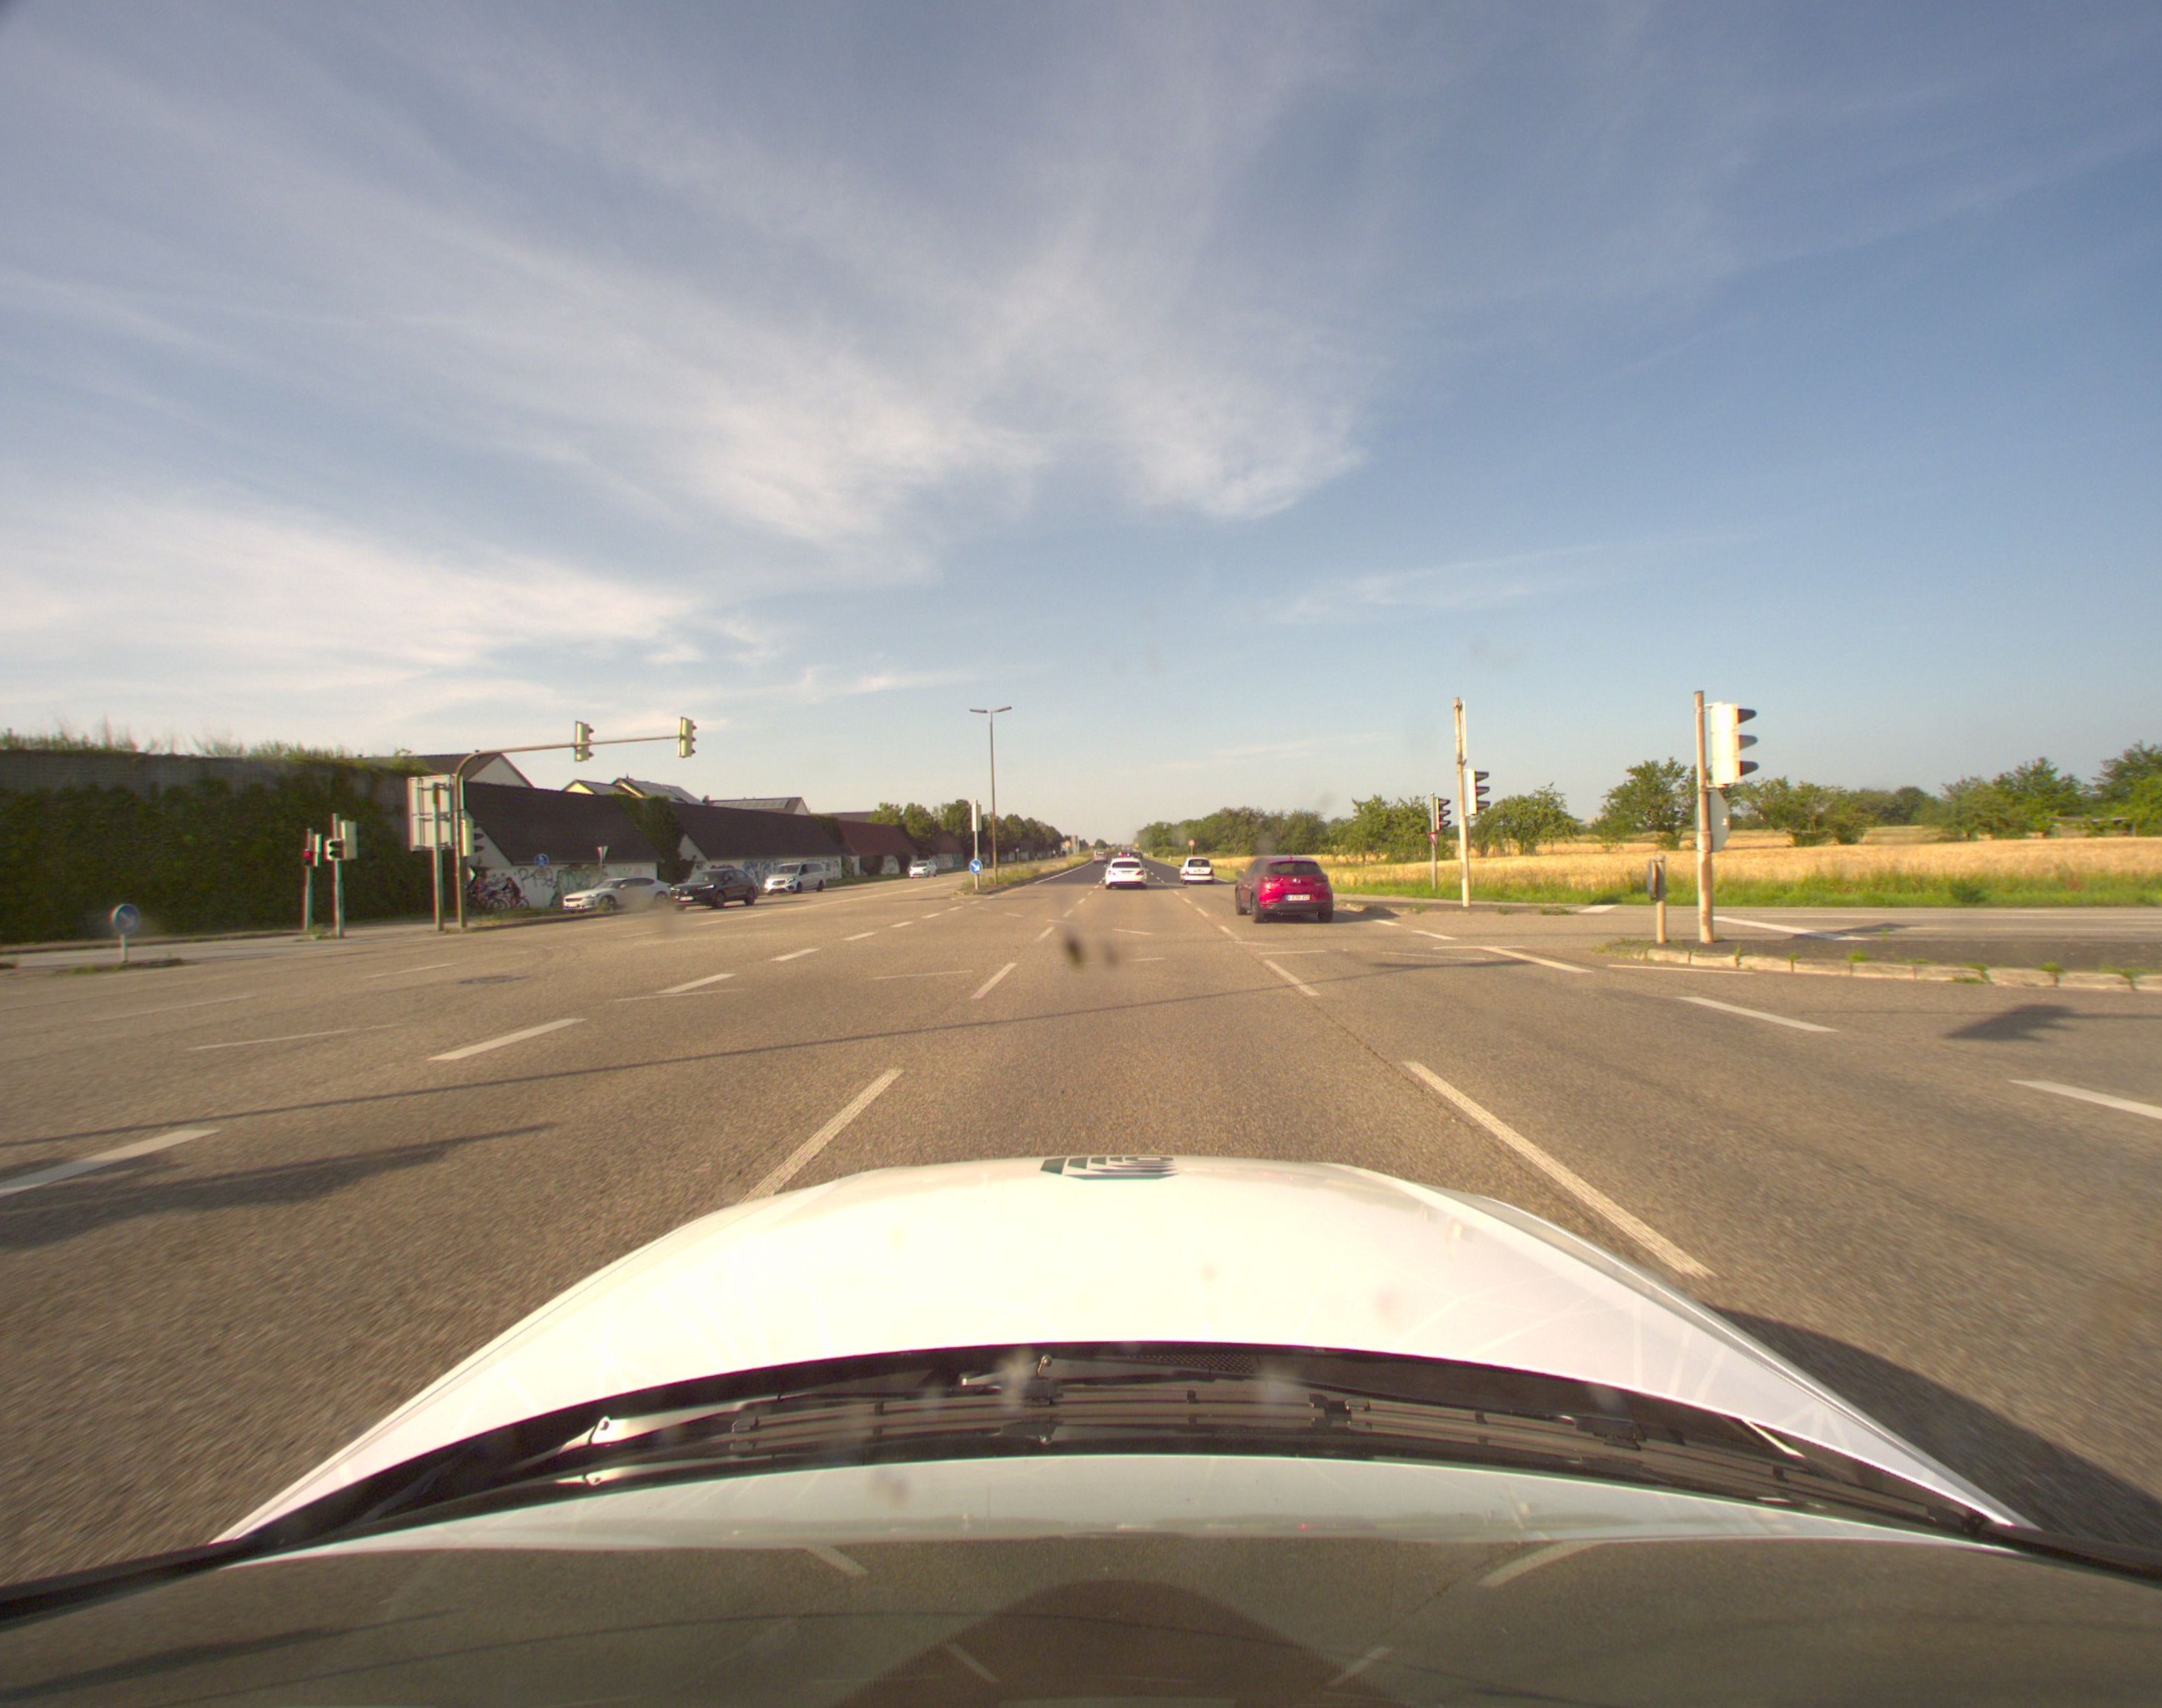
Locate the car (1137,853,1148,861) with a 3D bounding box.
[{"bbox_3d":[12.594,0.611,168.075,1.987,1.585,4.284,0,0,0],"label":"car"}]

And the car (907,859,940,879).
[{"bbox_3d":[-15.213,1.404,78.936,1.829,1.707,4.762,-4,-1,3],"label":"car"}]

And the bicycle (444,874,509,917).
[{"bbox_3d":[-26.259,1.777,35.435,0.750,1.749,2.609,0,-1,3],"label":"bicycle"}]

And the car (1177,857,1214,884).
[{"bbox_3d":[6.018,0.854,43.140,1.611,1.387,3.954,0,0,3],"label":"car"}]

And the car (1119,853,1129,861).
[{"bbox_3d":[8.237,0.632,156.704,1.805,1.436,3.860,0,0,2],"label":"car"}]

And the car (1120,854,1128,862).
[{"bbox_3d":[10.850,0.965,205.012,1.831,2.014,4.004,0,0,4],"label":"car"}]

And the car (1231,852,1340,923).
[{"bbox_3d":[4.772,0.739,19.613,1.697,1.506,4.504,0,0,3],"label":"car"}]

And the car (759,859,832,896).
[{"bbox_3d":[-16.976,1.349,48.758,1.898,1.928,5.461,-5,-1,5],"label":"car"}]

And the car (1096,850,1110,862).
[{"bbox_3d":[3.077,0.291,113.314,1.750,1.618,4.005,0,0,5],"label":"car"}]

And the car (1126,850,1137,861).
[{"bbox_3d":[8.447,0.258,135.650,1.820,1.728,4.003,0,0,3],"label":"car"}]

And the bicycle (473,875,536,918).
[{"bbox_3d":[-25.044,1.803,35.440,0.750,1.749,2.609,0,-1,3],"label":"bicycle"}]

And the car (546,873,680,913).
[{"bbox_3d":[-19.794,1.589,34.712,1.933,1.497,4.785,-1,0,20],"label":"car"}]

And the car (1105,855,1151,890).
[{"bbox_3d":[2.193,0.823,38.086,1.985,1.516,4.003,0,0,3],"label":"car"}]

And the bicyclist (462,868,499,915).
[{"bbox_3d":[-26.221,1.626,35.581,0.767,2.014,1.063,0,-1,3],"label":"bicyclist"}]

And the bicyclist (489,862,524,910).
[{"bbox_3d":[-25.004,1.380,35.462,0.767,2.014,1.063,0,-1,3],"label":"bicyclist"}]

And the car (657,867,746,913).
[{"bbox_3d":[-14.666,1.336,31.710,1.730,1.541,4.238,-4,0,-6],"label":"car"}]
